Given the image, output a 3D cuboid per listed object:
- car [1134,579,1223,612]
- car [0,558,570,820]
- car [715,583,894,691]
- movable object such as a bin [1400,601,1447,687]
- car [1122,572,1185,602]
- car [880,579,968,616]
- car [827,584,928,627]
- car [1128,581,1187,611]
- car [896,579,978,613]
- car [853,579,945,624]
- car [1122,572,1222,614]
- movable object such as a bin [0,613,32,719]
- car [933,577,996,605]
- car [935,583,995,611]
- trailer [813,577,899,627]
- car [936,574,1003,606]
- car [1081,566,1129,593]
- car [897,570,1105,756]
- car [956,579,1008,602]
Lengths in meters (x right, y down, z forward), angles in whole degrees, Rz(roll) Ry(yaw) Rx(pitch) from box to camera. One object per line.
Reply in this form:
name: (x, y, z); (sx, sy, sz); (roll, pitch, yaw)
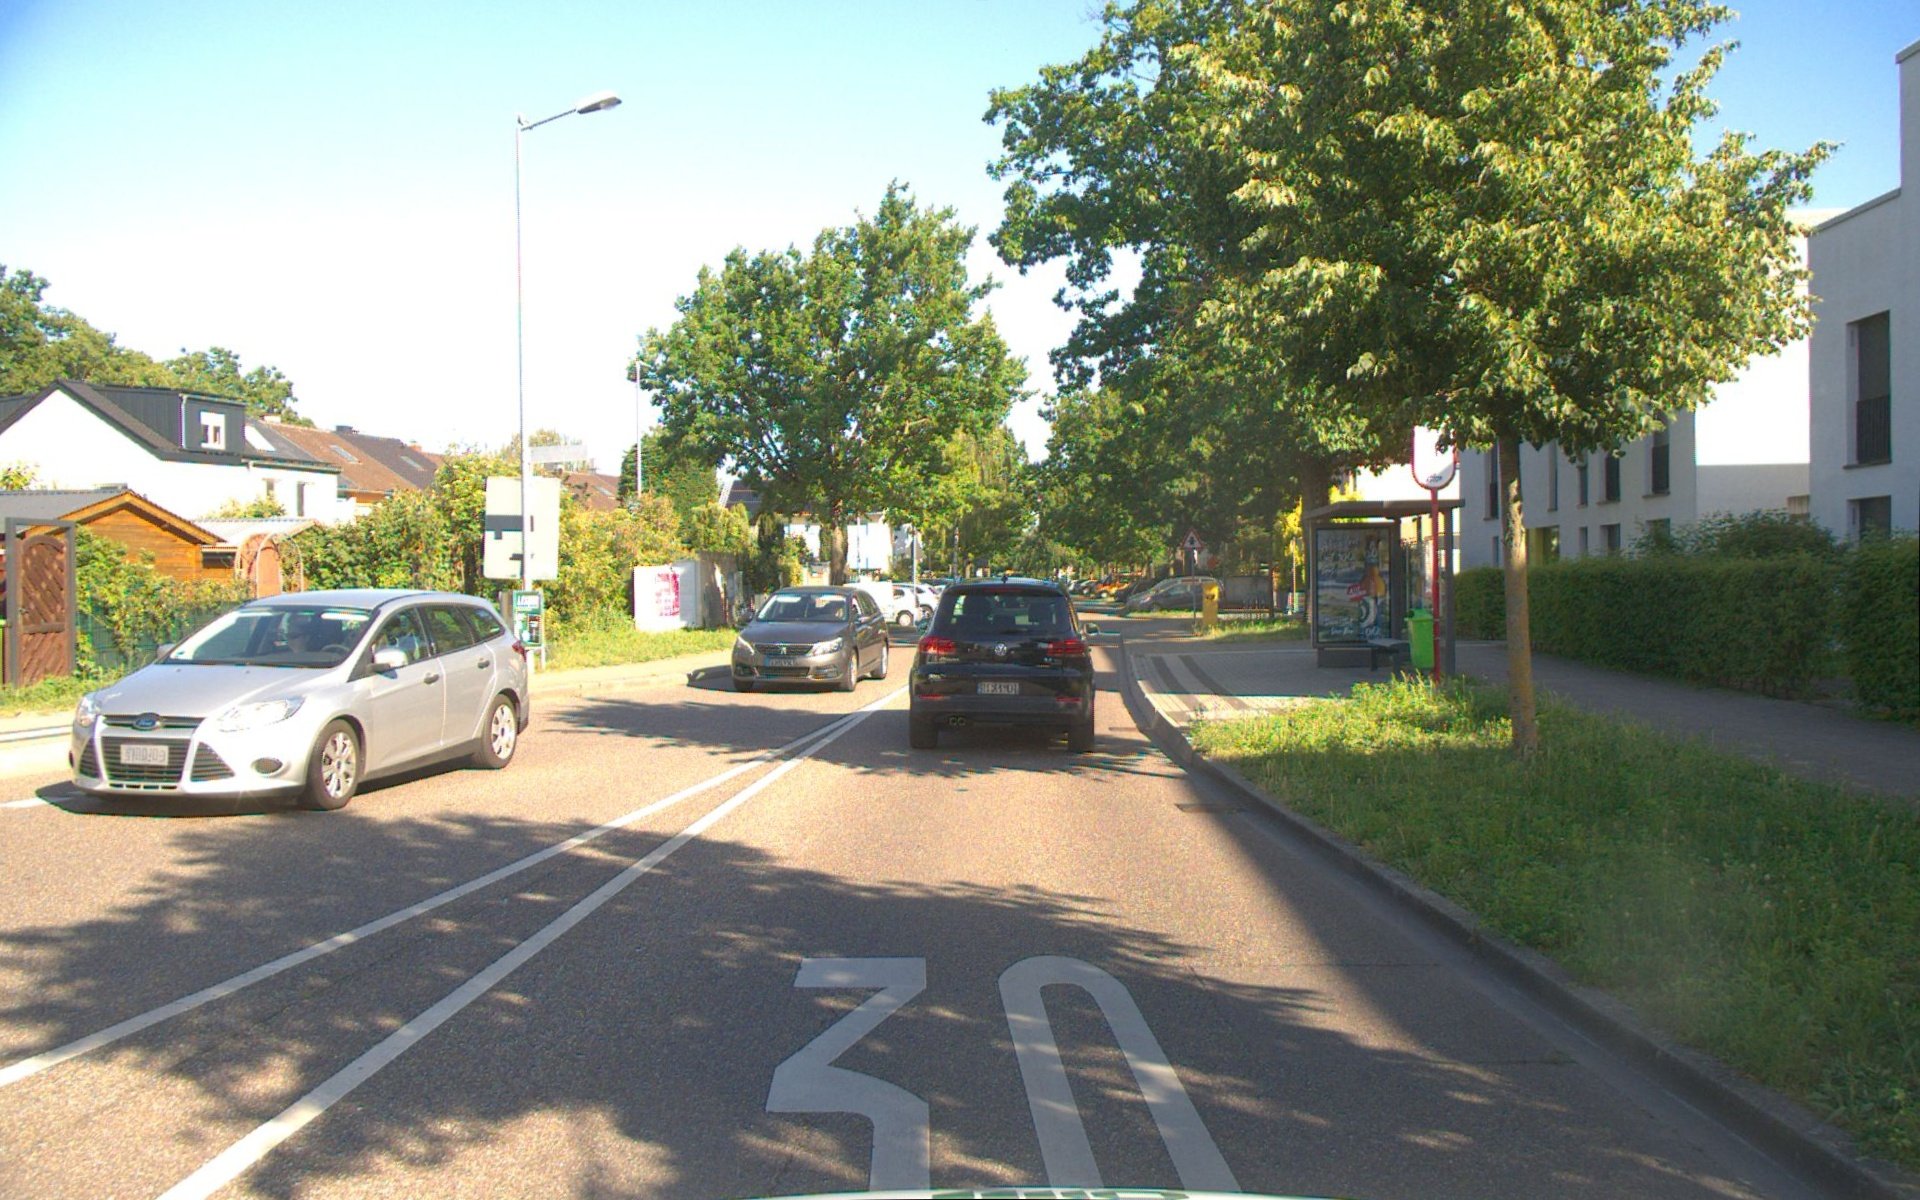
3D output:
car: (9.926, -0.209, 75.343); (3.903, 1.392, 1.848); (-1, 0, 4)
car: (-4.934, 0.541, 12.647); (2.162, 1.618, 4.538); (0, 0, 10)
car: (-2.252, 0.494, 25.158); (1.951, 1.469, 4.453); (1, 1, 5)
movable object such as a bin: (5.722, 0.535, 20.429); (0.361, 1.034, 0.599); (-1, 1, -5)
car: (12.359, -0.828, 105.911); (3.903, 1.806, 1.791); (-1, 0, 5)
car: (-1.687, -0.121, 78.184); (3.902, 1.699, 2.001); (-1, 1, 5)
car: (-3.004, 0.180, 60.742); (3.474, 1.503, 1.809); (-1, 0, 4)
car: (10.708, -0.216, 89.683); (2.982, 1.534, 1.246); (-1, 0, -2)
car: (-1.146, -0.225, 83.501); (3.902, 1.668, 2.001); (-1, 1, 6)
car: (-2.321, 0.060, 63.378); (3.477, 1.641, 1.852); (-1, 0, -2)
car: (9.943, -0.342, 77.847); (4.535, 1.841, 1.825); (-1, 0, 4)
movable object such as a bin: (-9.409, 0.621, 15.902); (0.580, 0.984, 0.559); (3, 1, 8)
car: (0.311, -0.556, 105.319); (3.903, 1.750, 1.821); (-1, -1, 3)
car: (0.274, -0.170, 92.779); (3.301, 1.516, 1.644); (-1, 0, 0)
trailer: (-3.657, 0.061, 58.421); (2.906, 1.685, 1.396); (-1, 0, 0)
car: (0.632, -0.651, 107.775); (4.300, 1.973, 1.578); (-1, -1, 0)
car: (12.082, -1.701, 137.792); (3.903, 2.049, 2.001); (-1, -2, 5)
car: (0.387, 0.539, 17.441); (1.890, 1.683, 4.515); (1, 1, 0)
car: (1.724, -0.741, 130.756); (3.908, 1.713, 1.922); (-1, 0, -4)
